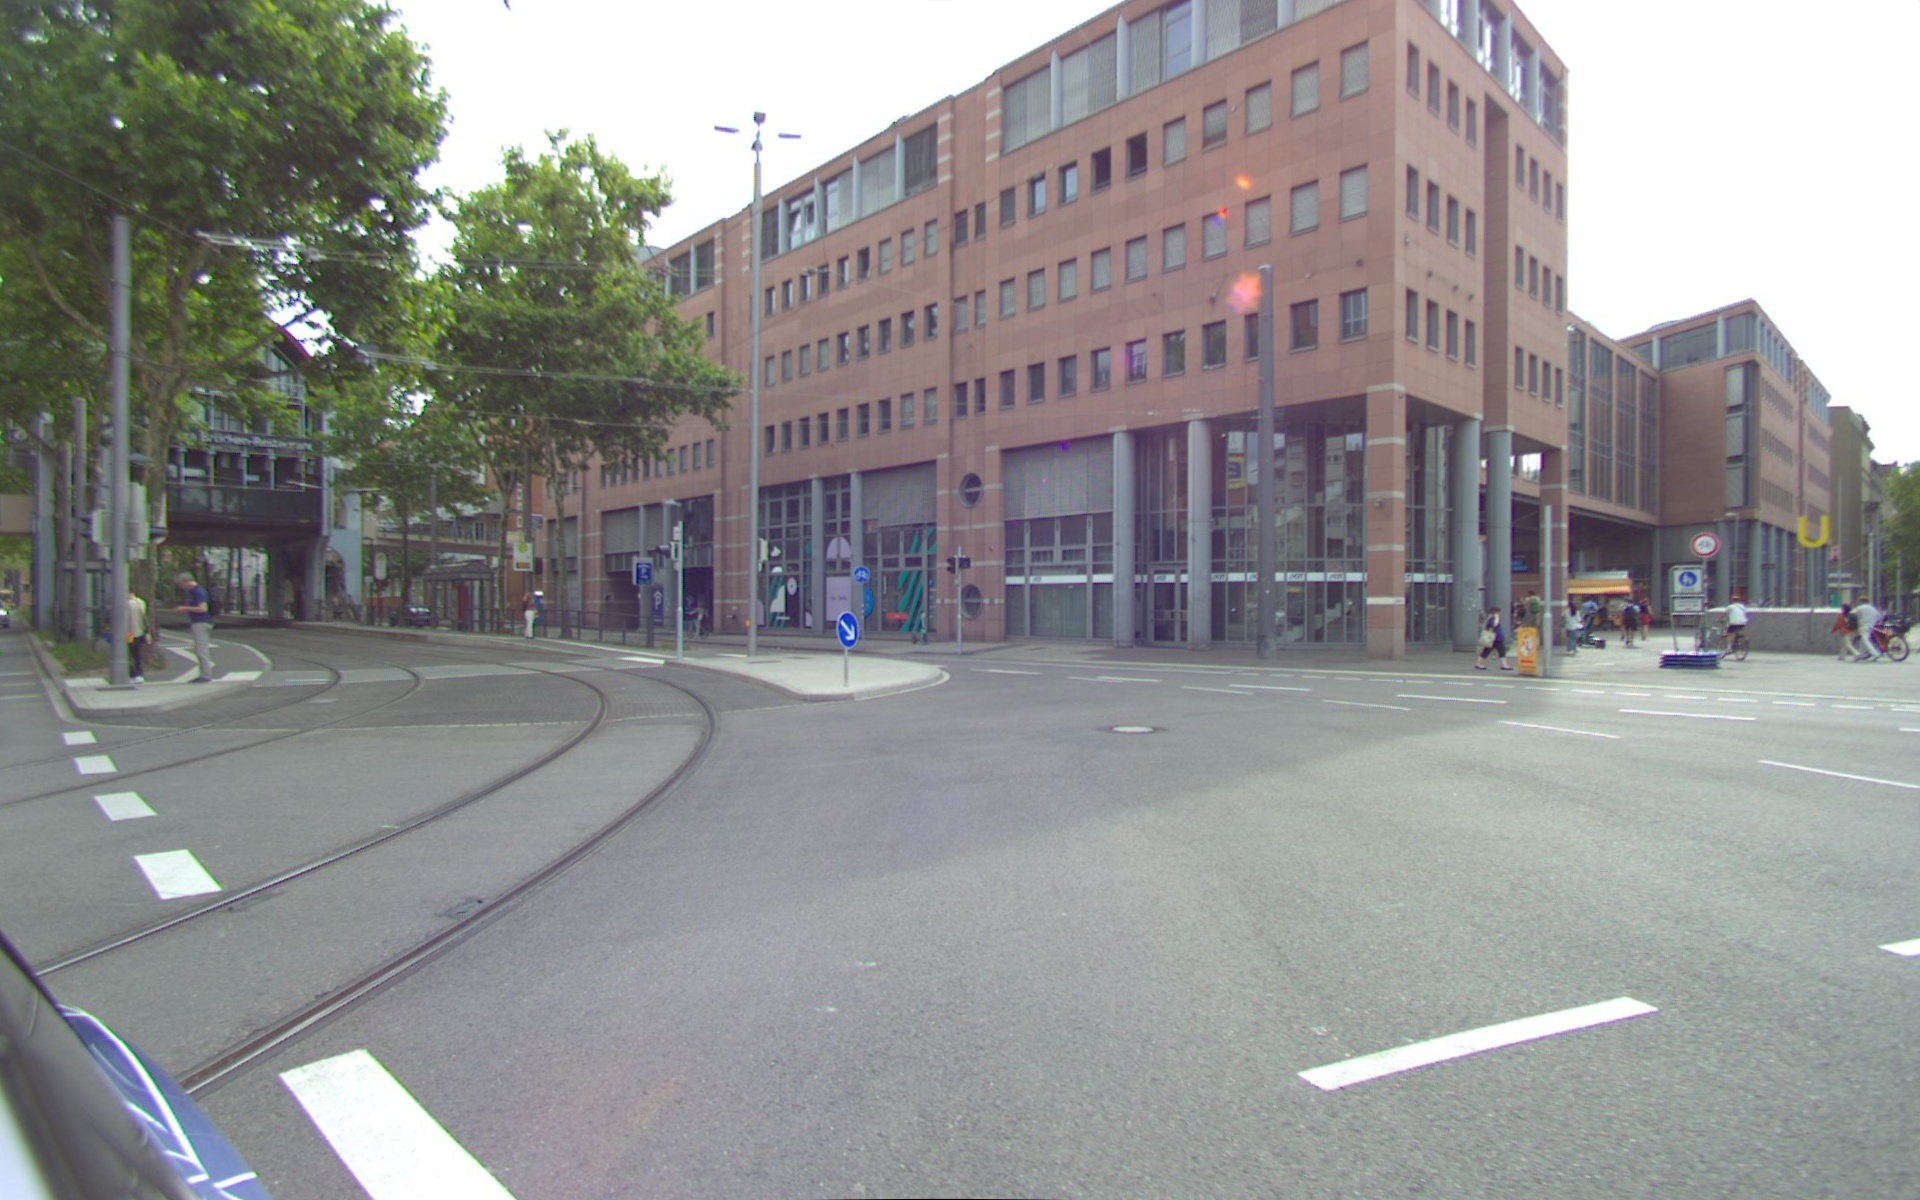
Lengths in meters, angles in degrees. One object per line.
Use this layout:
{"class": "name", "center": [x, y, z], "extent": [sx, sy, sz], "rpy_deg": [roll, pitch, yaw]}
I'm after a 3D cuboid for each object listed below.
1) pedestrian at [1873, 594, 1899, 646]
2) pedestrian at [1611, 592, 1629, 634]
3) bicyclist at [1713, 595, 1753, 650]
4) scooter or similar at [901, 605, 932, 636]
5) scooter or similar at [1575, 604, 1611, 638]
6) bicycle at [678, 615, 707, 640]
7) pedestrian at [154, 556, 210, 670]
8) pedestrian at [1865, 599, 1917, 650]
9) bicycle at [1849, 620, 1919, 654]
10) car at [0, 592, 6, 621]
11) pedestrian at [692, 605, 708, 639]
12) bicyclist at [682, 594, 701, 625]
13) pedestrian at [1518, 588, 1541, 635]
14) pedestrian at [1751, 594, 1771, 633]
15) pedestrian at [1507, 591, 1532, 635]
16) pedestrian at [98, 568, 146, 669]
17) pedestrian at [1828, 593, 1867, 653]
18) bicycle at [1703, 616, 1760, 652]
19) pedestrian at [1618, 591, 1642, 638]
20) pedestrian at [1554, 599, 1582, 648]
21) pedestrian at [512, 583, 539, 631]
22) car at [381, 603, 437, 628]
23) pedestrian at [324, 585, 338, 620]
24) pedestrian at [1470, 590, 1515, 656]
{"class": "pedestrian", "center": [28.623, 0.599, 31.284], "extent": [0.499, 1.589, 0.521], "rpy_deg": [0, -1, -41]}
{"class": "pedestrian", "center": [26.908, 0.532, 41.266], "extent": [0.513, 1.676, 0.464], "rpy_deg": [0, -1, -43]}
{"class": "bicyclist", "center": [22.558, 0.641, 29.555], "extent": [0.540, 1.581, 0.882], "rpy_deg": [0, 0, 7]}
{"class": "scooter or similar", "center": [-1.589, 0.743, 36.964], "extent": [0.513, 1.141, 1.113], "rpy_deg": [0, -1, -43]}
{"class": "scooter or similar", "center": [21.879, 0.715, 34.989], "extent": [0.377, 1.178, 1.294], "rpy_deg": [0, 0, -1]}
{"class": "bicycle", "center": [-12.099, 1.231, 45.731], "extent": [1.590, 1.126, 0.540], "rpy_deg": [0, -1, 44]}
{"class": "pedestrian", "center": [-13.315, 0.220, 17.318], "extent": [0.683, 1.889, 0.808], "rpy_deg": [0, -1, -43]}
{"class": "pedestrian", "center": [25.731, 0.668, 27.985], "extent": [0.624, 1.385, 0.863], "rpy_deg": [0, 0, 5]}
{"class": "bicycle", "center": [25.722, 1.017, 28.183], "extent": [0.467, 0.894, 1.785], "rpy_deg": [0, 0, 6]}
{"class": "car", "center": [-55.648, 0.388, 57.595], "extent": [1.929, 1.613, 4.004], "rpy_deg": [0, 0, -43]}
{"class": "pedestrian", "center": [-12.399, 1.050, 48.188], "extent": [0.521, 1.585, 0.601], "rpy_deg": [0, -1, -43]}
{"class": "bicyclist", "center": [-12.129, 0.440, 45.762], "extent": [0.738, 1.391, 0.544], "rpy_deg": [-1, -1, 43]}
{"class": "pedestrian", "center": [20.639, 0.406, 36.659], "extent": [0.575, 1.676, 0.519], "rpy_deg": [-1, 0, 13]}
{"class": "pedestrian", "center": [34.476, 0.591, 43.545], "extent": [0.513, 1.676, 0.581], "rpy_deg": [0, -1, -43]}
{"class": "pedestrian", "center": [22.496, 0.514, 40.706], "extent": [0.675, 1.775, 0.499], "rpy_deg": [-1, -1, -1]}
{"class": "pedestrian", "center": [-15.317, 0.327, 18.510], "extent": [0.526, 1.805, 0.579], "rpy_deg": [0, 0, -23]}
{"class": "pedestrian", "center": [24.707, 0.644, 28.182], "extent": [0.625, 1.654, 0.466], "rpy_deg": [-1, -1, 8]}
{"class": "bicycle", "center": [22.602, 0.978, 29.681], "extent": [0.467, 0.996, 1.785], "rpy_deg": [0, 0, 6]}
{"class": "pedestrian", "center": [24.120, 0.506, 36.427], "extent": [0.513, 1.676, 0.581], "rpy_deg": [0, -1, -43]}
{"class": "pedestrian", "center": [18.624, 0.703, 31.009], "extent": [0.645, 1.484, 0.581], "rpy_deg": [0, -1, -43]}
{"class": "pedestrian", "center": [-14.306, 0.227, 33.345], "extent": [0.559, 1.549, 0.649], "rpy_deg": [2, 2, 42]}
{"class": "car", "center": [-32.959, 0.906, 60.523], "extent": [1.841, 1.484, 4.299], "rpy_deg": [0, 0, -44]}
{"class": "pedestrian", "center": [-32.627, 0.118, 52.469], "extent": [0.481, 1.784, 0.476], "rpy_deg": [0, 0, 39]}
{"class": "pedestrian", "center": [12.283, 0.517, 23.327], "extent": [0.787, 1.484, 0.685], "rpy_deg": [0, -1, -43]}
